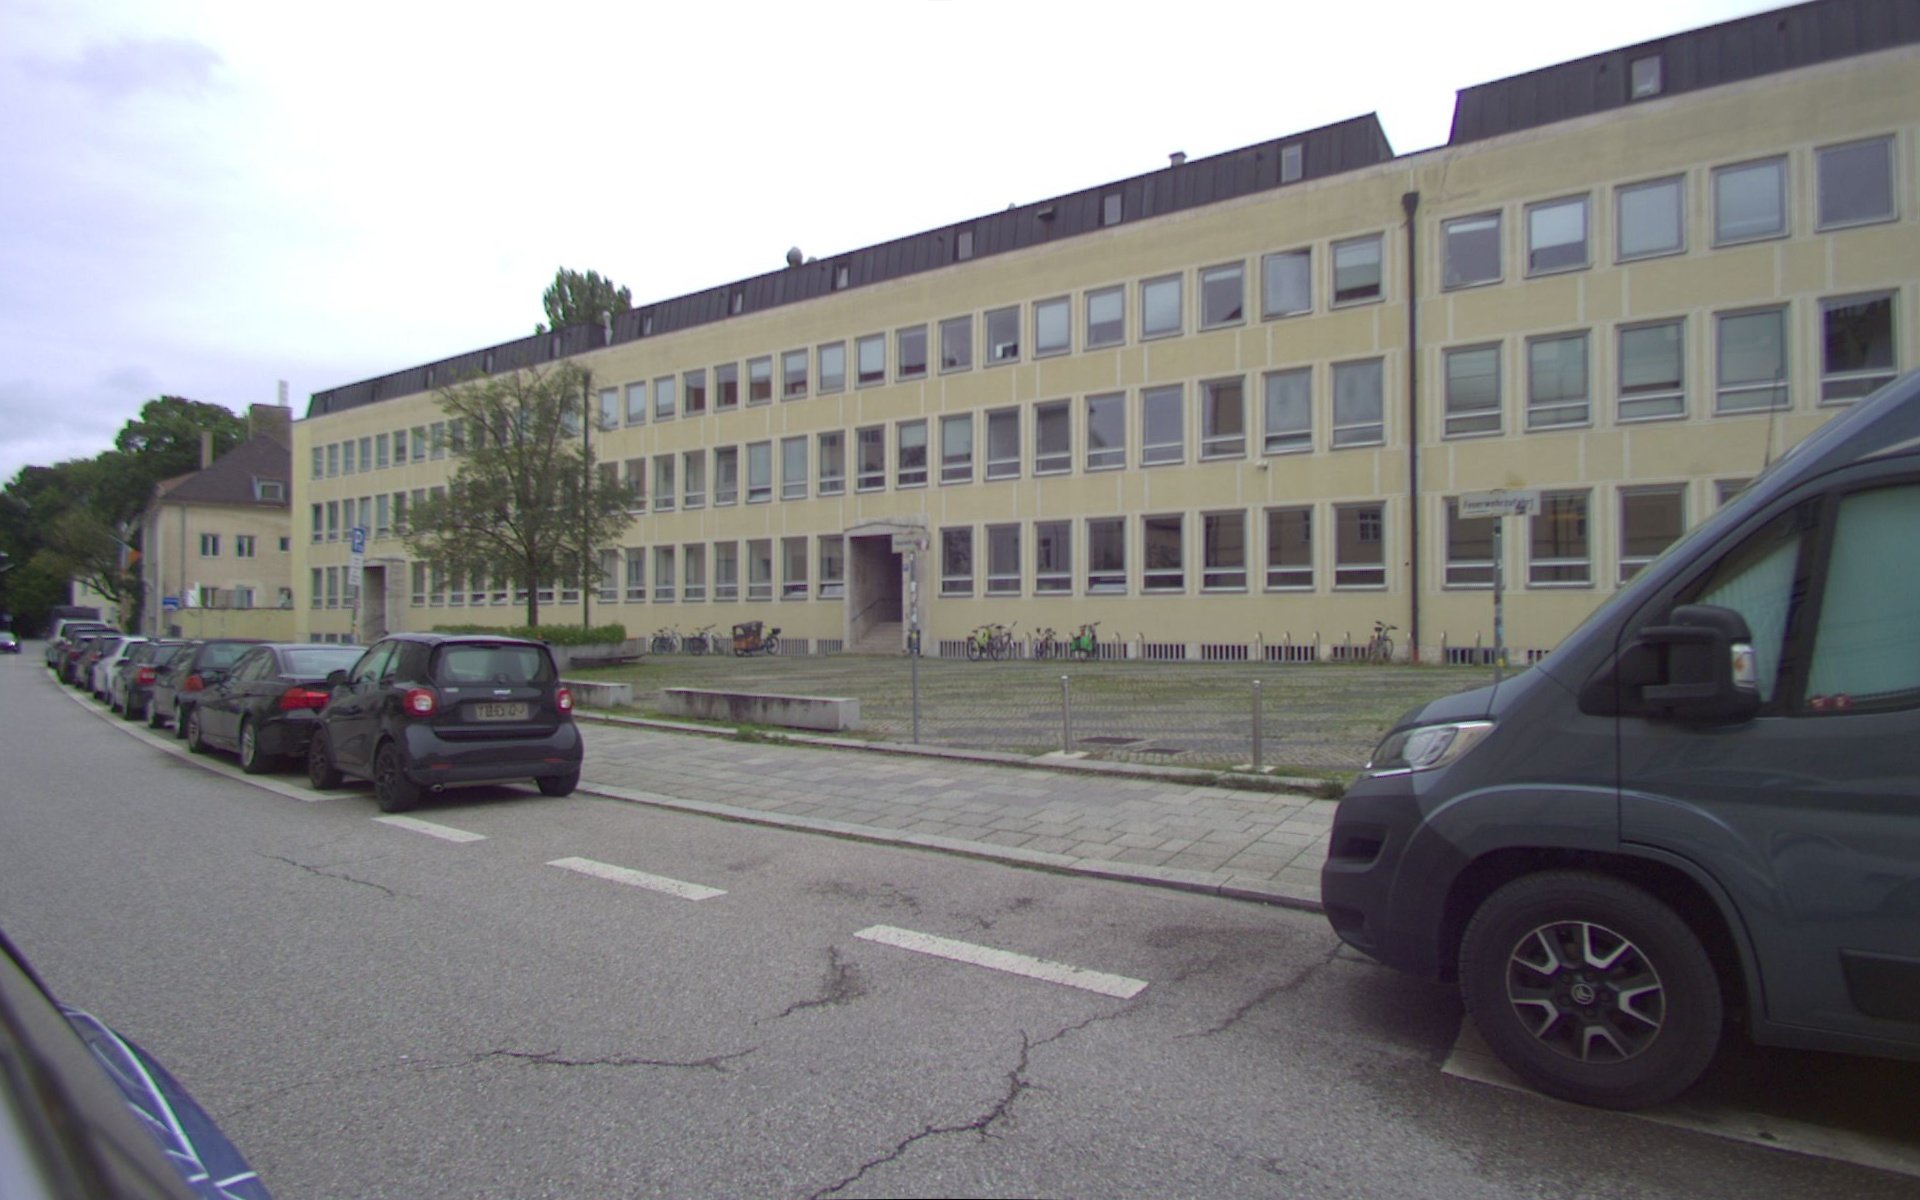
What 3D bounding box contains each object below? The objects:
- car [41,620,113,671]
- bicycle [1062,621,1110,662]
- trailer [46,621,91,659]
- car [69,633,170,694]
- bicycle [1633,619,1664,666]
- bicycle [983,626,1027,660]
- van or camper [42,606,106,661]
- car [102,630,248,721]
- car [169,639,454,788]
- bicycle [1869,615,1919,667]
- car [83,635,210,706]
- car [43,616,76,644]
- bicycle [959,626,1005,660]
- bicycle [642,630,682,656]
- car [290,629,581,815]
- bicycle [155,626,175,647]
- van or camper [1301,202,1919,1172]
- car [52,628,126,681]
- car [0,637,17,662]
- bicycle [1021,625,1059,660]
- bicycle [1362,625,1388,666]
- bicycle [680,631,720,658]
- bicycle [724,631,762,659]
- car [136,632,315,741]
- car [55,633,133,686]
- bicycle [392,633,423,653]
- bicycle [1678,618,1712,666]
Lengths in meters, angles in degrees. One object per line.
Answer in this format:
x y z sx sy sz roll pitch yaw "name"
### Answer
-36.761 1.901 42.100 1.893 1.975 4.964 3 -4 -44 "car"
3.670 1.193 29.396 0.700 1.104 1.832 -2 0 30 "bicycle"
-60.339 2.712 68.544 1.950 2.490 4.585 4 -4 -39 "trailer"
-22.612 1.663 27.184 4.102 1.506 1.612 -2 -4 44 "car"
15.086 0.924 22.183 0.413 0.952 1.460 -2 0 30 "bicycle"
1.401 1.309 30.972 0.413 0.952 1.842 -2 0 34 "bicycle"
-45.358 1.736 51.854 2.264 2.671 5.569 3 -4 -41 "van or camper"
-14.732 1.342 18.911 1.612 1.506 4.277 3 -4 -45 "car"
-7.943 1.233 12.225 4.465 1.477 1.755 -2 -4 42 "car"
18.331 0.786 19.846 0.413 0.952 1.460 -2 0 30 "bicycle"
-18.522 1.531 22.973 4.296 1.433 1.721 -2 -3 45 "car"
-82.387 2.791 92.561 2.086 2.495 5.237 2 -3 -42 "car"
0.706 1.322 31.289 0.413 0.952 1.935 -2 0 34 "bicycle"
-11.736 1.684 39.867 0.501 0.952 1.594 -2 0 28 "bicycle"
-5.035 1.045 9.613 2.886 1.477 1.502 -2 -4 42 "car"
-48.225 2.217 61.347 0.792 1.243 1.870 1 -2 -43 "bicycle"
4.370 0.236 2.896 6.068 2.601 2.278 -1 -4 33 "van or camper"
-29.781 1.845 34.566 1.694 1.702 4.145 3 -3 -43 "car"
-60.539 3.123 63.469 1.970 1.541 4.004 -1 -1 -42 "car"
2.399 1.253 30.132 0.414 0.952 1.393 -2 0 38 "bicycle"
10.343 1.122 25.207 0.413 0.952 1.397 -2 0 30 "bicycle"
-9.896 1.700 38.543 0.501 0.952 1.594 -2 0 28 "bicycle"
-7.963 1.629 37.161 0.500 0.952 1.597 -2 0 23 "bicycle"
-11.554 1.288 15.845 3.605 1.506 1.612 -2 -4 44 "car"
-26.280 1.763 30.671 1.611 1.506 3.823 2 -3 -43 "car"
-27.501 2.137 50.394 0.411 0.952 1.403 -2 0 18 "bicycle"
15.828 0.895 21.804 0.413 0.952 1.460 -2 0 30 "bicycle"
